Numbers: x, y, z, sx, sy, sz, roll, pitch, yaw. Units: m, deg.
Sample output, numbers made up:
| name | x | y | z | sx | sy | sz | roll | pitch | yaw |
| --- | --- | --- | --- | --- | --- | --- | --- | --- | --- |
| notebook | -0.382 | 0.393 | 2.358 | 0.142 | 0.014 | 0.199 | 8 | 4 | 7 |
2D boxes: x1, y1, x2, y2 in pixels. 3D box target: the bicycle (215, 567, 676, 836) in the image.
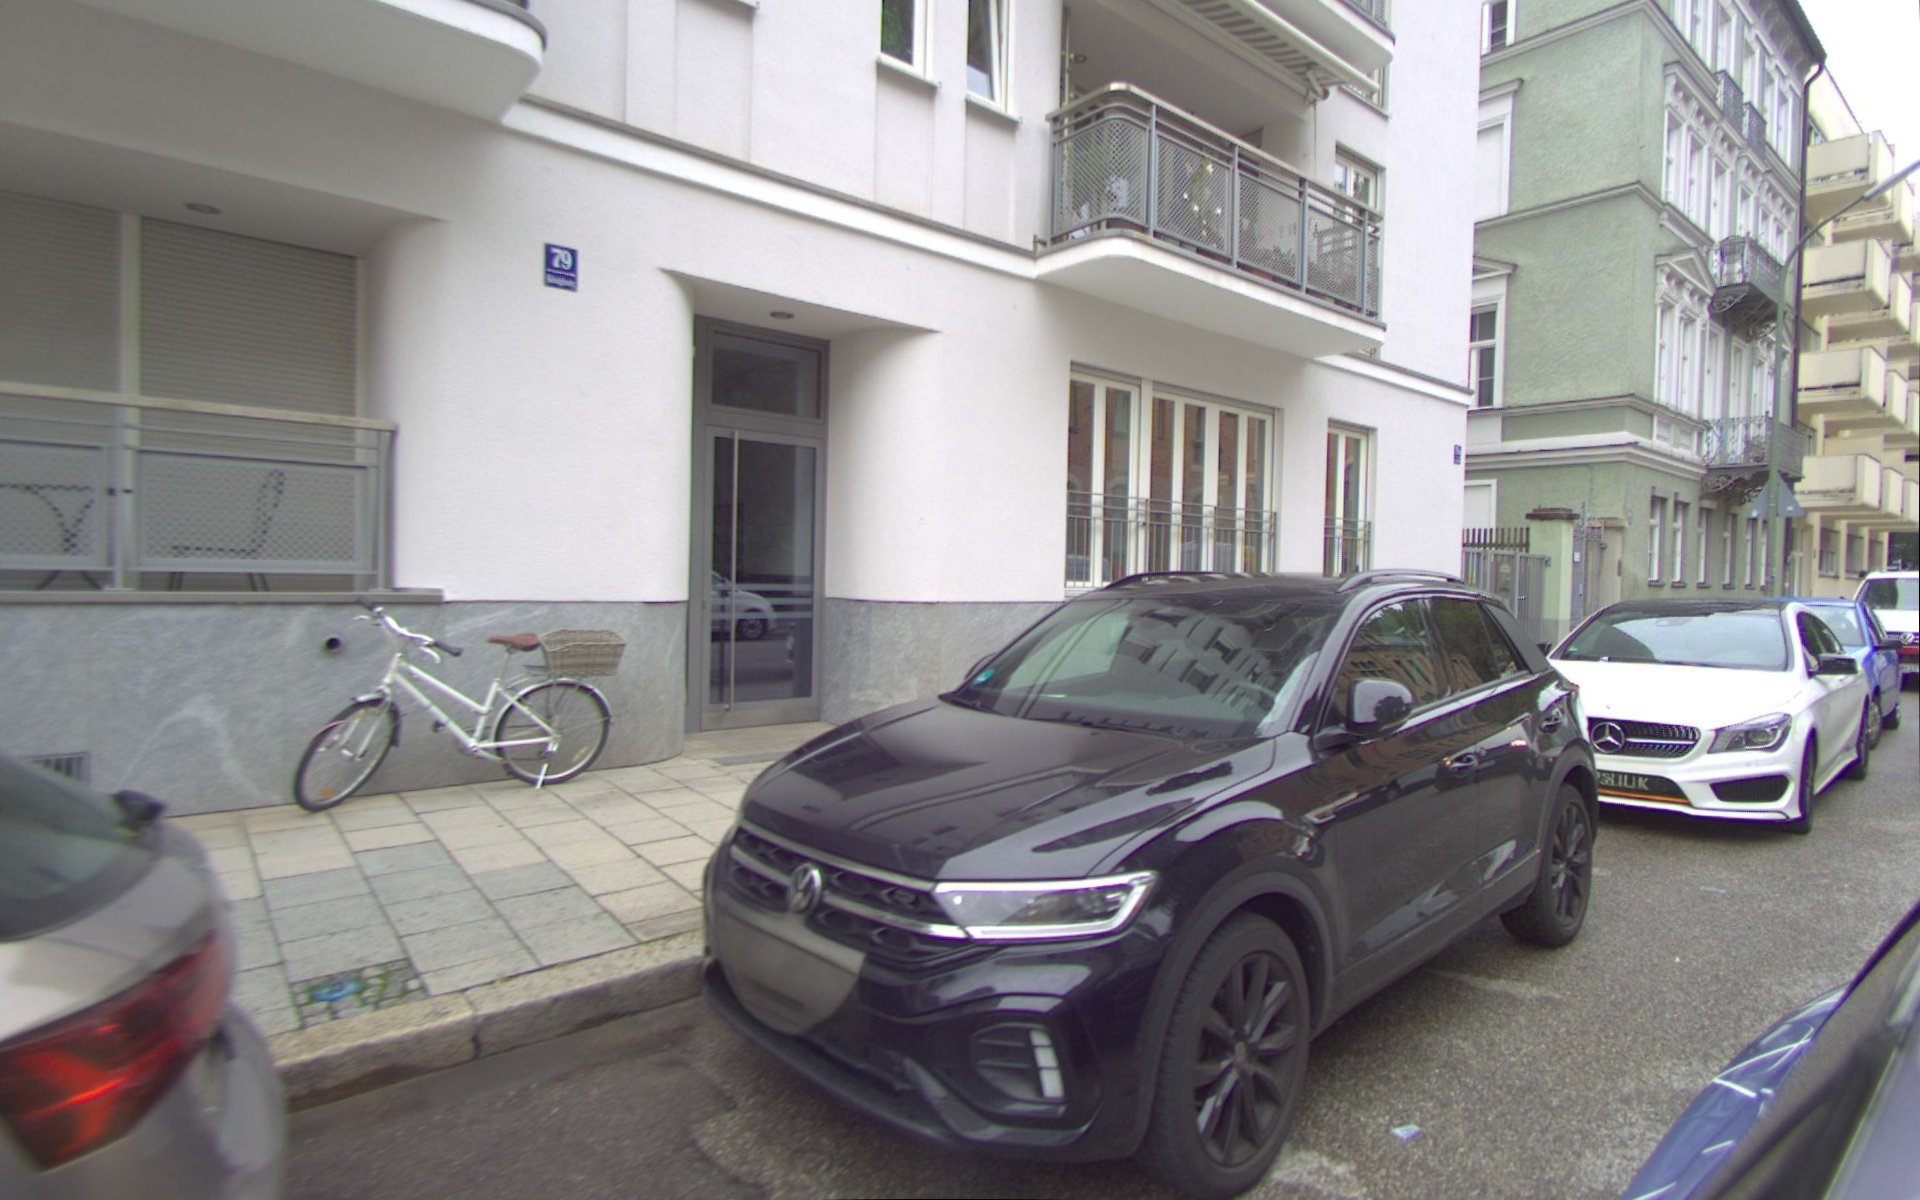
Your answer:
| name | x | y | z | sx | sy | sz | roll | pitch | yaw |
| --- | --- | --- | --- | --- | --- | --- | --- | --- | --- |
| bicycle | -2.635 | 0.438 | 5.389 | 2.091 | 1.174 | 0.628 | 0 | 2 | -43 |

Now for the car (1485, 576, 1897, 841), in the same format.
| name | x | y | z | sx | sy | sz | roll | pitch | yaw |
| --- | --- | --- | --- | --- | --- | --- | --- | --- | --- |
| car | 5.633 | 0.597 | 7.584 | 4.134 | 1.458 | 1.660 | 0 | 0 | -42 |

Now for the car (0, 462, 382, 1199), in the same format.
| name | x | y | z | sx | sy | sz | roll | pitch | yaw |
| --- | --- | --- | --- | --- | --- | --- | --- | --- | --- |
| car | -2.965 | 0.645 | 0.372 | 4.542 | 1.550 | 1.736 | 0 | 0 | -42 |

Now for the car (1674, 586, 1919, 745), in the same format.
| name | x | y | z | sx | sy | sz | roll | pitch | yaw |
| --- | --- | --- | --- | --- | --- | --- | --- | --- | --- |
| car | 9.120 | 0.577 | 10.903 | 3.493 | 1.430 | 1.621 | -1 | 0 | -42 |

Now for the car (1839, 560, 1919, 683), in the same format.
| name | x | y | z | sx | sy | sz | roll | pitch | yaw |
| --- | --- | --- | --- | --- | --- | --- | --- | --- | --- |
| car | 16.629 | 0.344 | 17.163 | 4.509 | 1.920 | 1.857 | 0 | -1 | -39 |

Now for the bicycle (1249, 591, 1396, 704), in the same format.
| name | x | y | z | sx | sy | sz | roll | pitch | yaw |
| --- | --- | --- | --- | --- | --- | --- | --- | --- | --- |
| bicycle | 3.867 | 0.456 | 10.734 | 1.803 | 1.040 | 0.678 | -2 | 3 | -41 |

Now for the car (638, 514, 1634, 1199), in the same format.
| name | x | y | z | sx | sy | sz | roll | pitch | yaw |
| --- | --- | --- | --- | --- | --- | --- | --- | --- | --- |
| car | 1.002 | 0.614 | 3.786 | 3.915 | 1.550 | 1.606 | 0 | 0 | -42 |
